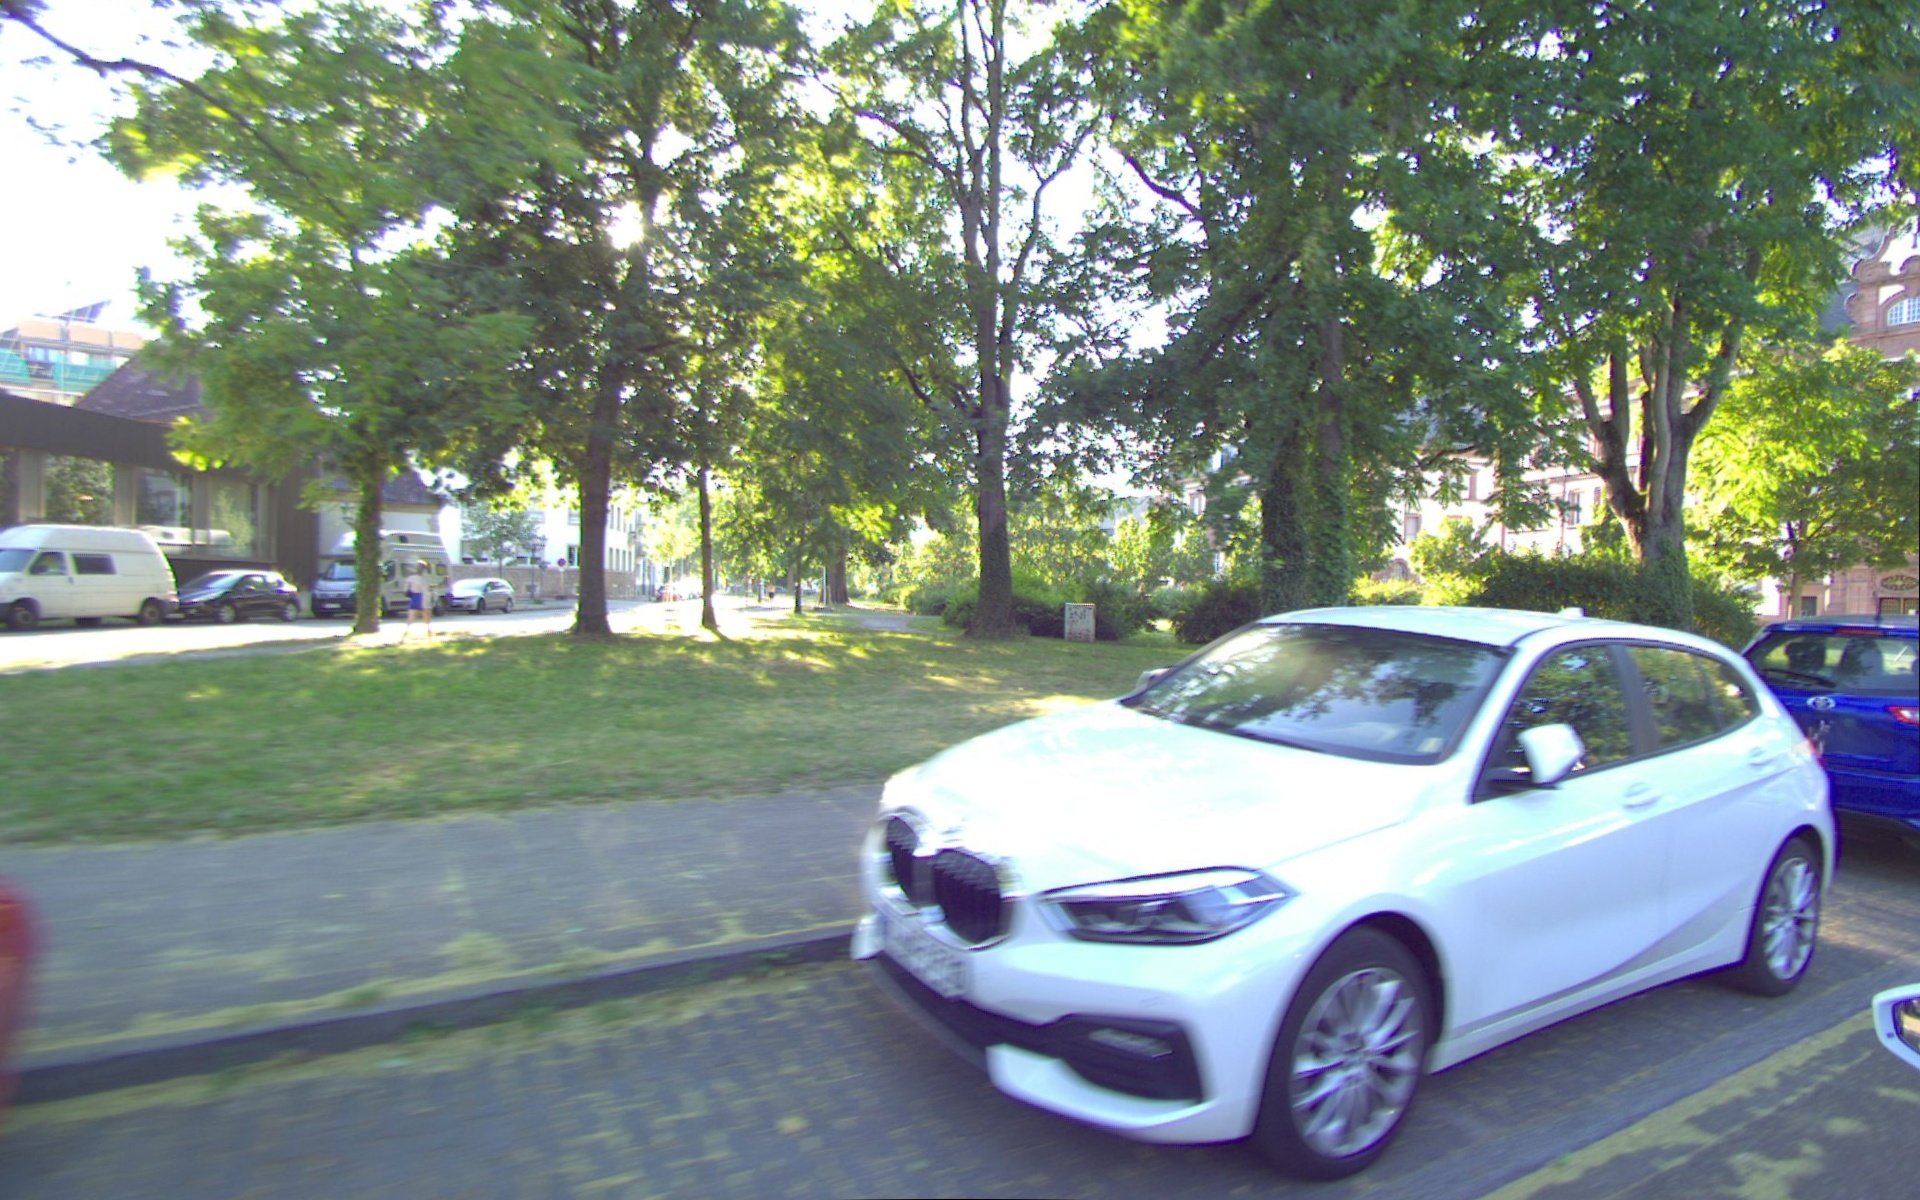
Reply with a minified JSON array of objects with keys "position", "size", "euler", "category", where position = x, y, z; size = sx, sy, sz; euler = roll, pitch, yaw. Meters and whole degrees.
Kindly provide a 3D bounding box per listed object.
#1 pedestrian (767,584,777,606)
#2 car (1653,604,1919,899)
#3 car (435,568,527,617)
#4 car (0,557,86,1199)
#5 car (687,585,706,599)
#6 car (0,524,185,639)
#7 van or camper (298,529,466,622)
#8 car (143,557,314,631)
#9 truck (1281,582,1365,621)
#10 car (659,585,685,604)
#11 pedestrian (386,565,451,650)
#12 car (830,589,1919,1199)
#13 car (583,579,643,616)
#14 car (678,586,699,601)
[{"position":[-13.710,-0.352,73.242],"size":[0.626,1.619,0.668],"euler":[1,1,-18],"category":"pedestrian"},{"position":[6.544,0.865,6.750],"size":[3.661,1.516,1.630],"euler":[1,2,-30],"category":"car"},{"position":[-19.884,-0.323,41.879],"size":[1.821,1.911,4.143],"euler":[2,1,-1],"category":"car"},{"position":[-3.190,0.630,0.910],"size":[3.386,1.442,1.381],"euler":[1,2,-30],"category":"car"},{"position":[-28.265,-0.843,107.751],"size":[1.656,1.432,3.869],"euler":[1,1,-11],"category":"car"},{"position":[-20.802,-0.433,23.191],"size":[1.821,2.387,5.185],"euler":[2,1,-1],"category":"car"},{"position":[-20.363,-0.823,35.840],"size":[2.055,2.947,6.333],"euler":[2,1,2],"category":"van or camper"},{"position":[-20.673,-0.175,28.622],"size":[1.821,1.911,4.143],"euler":[2,1,-1],"category":"car"},{"position":[30.595,0.097,85.040],"size":[2.569,3.070,7.983],"euler":[2,1,-15],"category":"truck"},{"position":[-23.316,-0.433,81.379],"size":[1.488,1.466,3.401],"euler":[2,1,-8],"category":"car"},{"position":[-10.393,0.137,19.285],"size":[0.760,1.596,0.768],"euler":[1,1,15],"category":"pedestrian"},{"position":[1.677,0.757,3.747],"size":[3.928,1.425,1.682],"euler":[1,2,-30],"category":"car"},{"position":[-18.986,-0.170,55.119],"size":[1.821,1.911,4.143],"euler":[2,1,-1],"category":"car"},{"position":[-26.572,-0.676,98.391],"size":[1.656,1.432,3.869],"euler":[1,1,-11],"category":"car"}]
